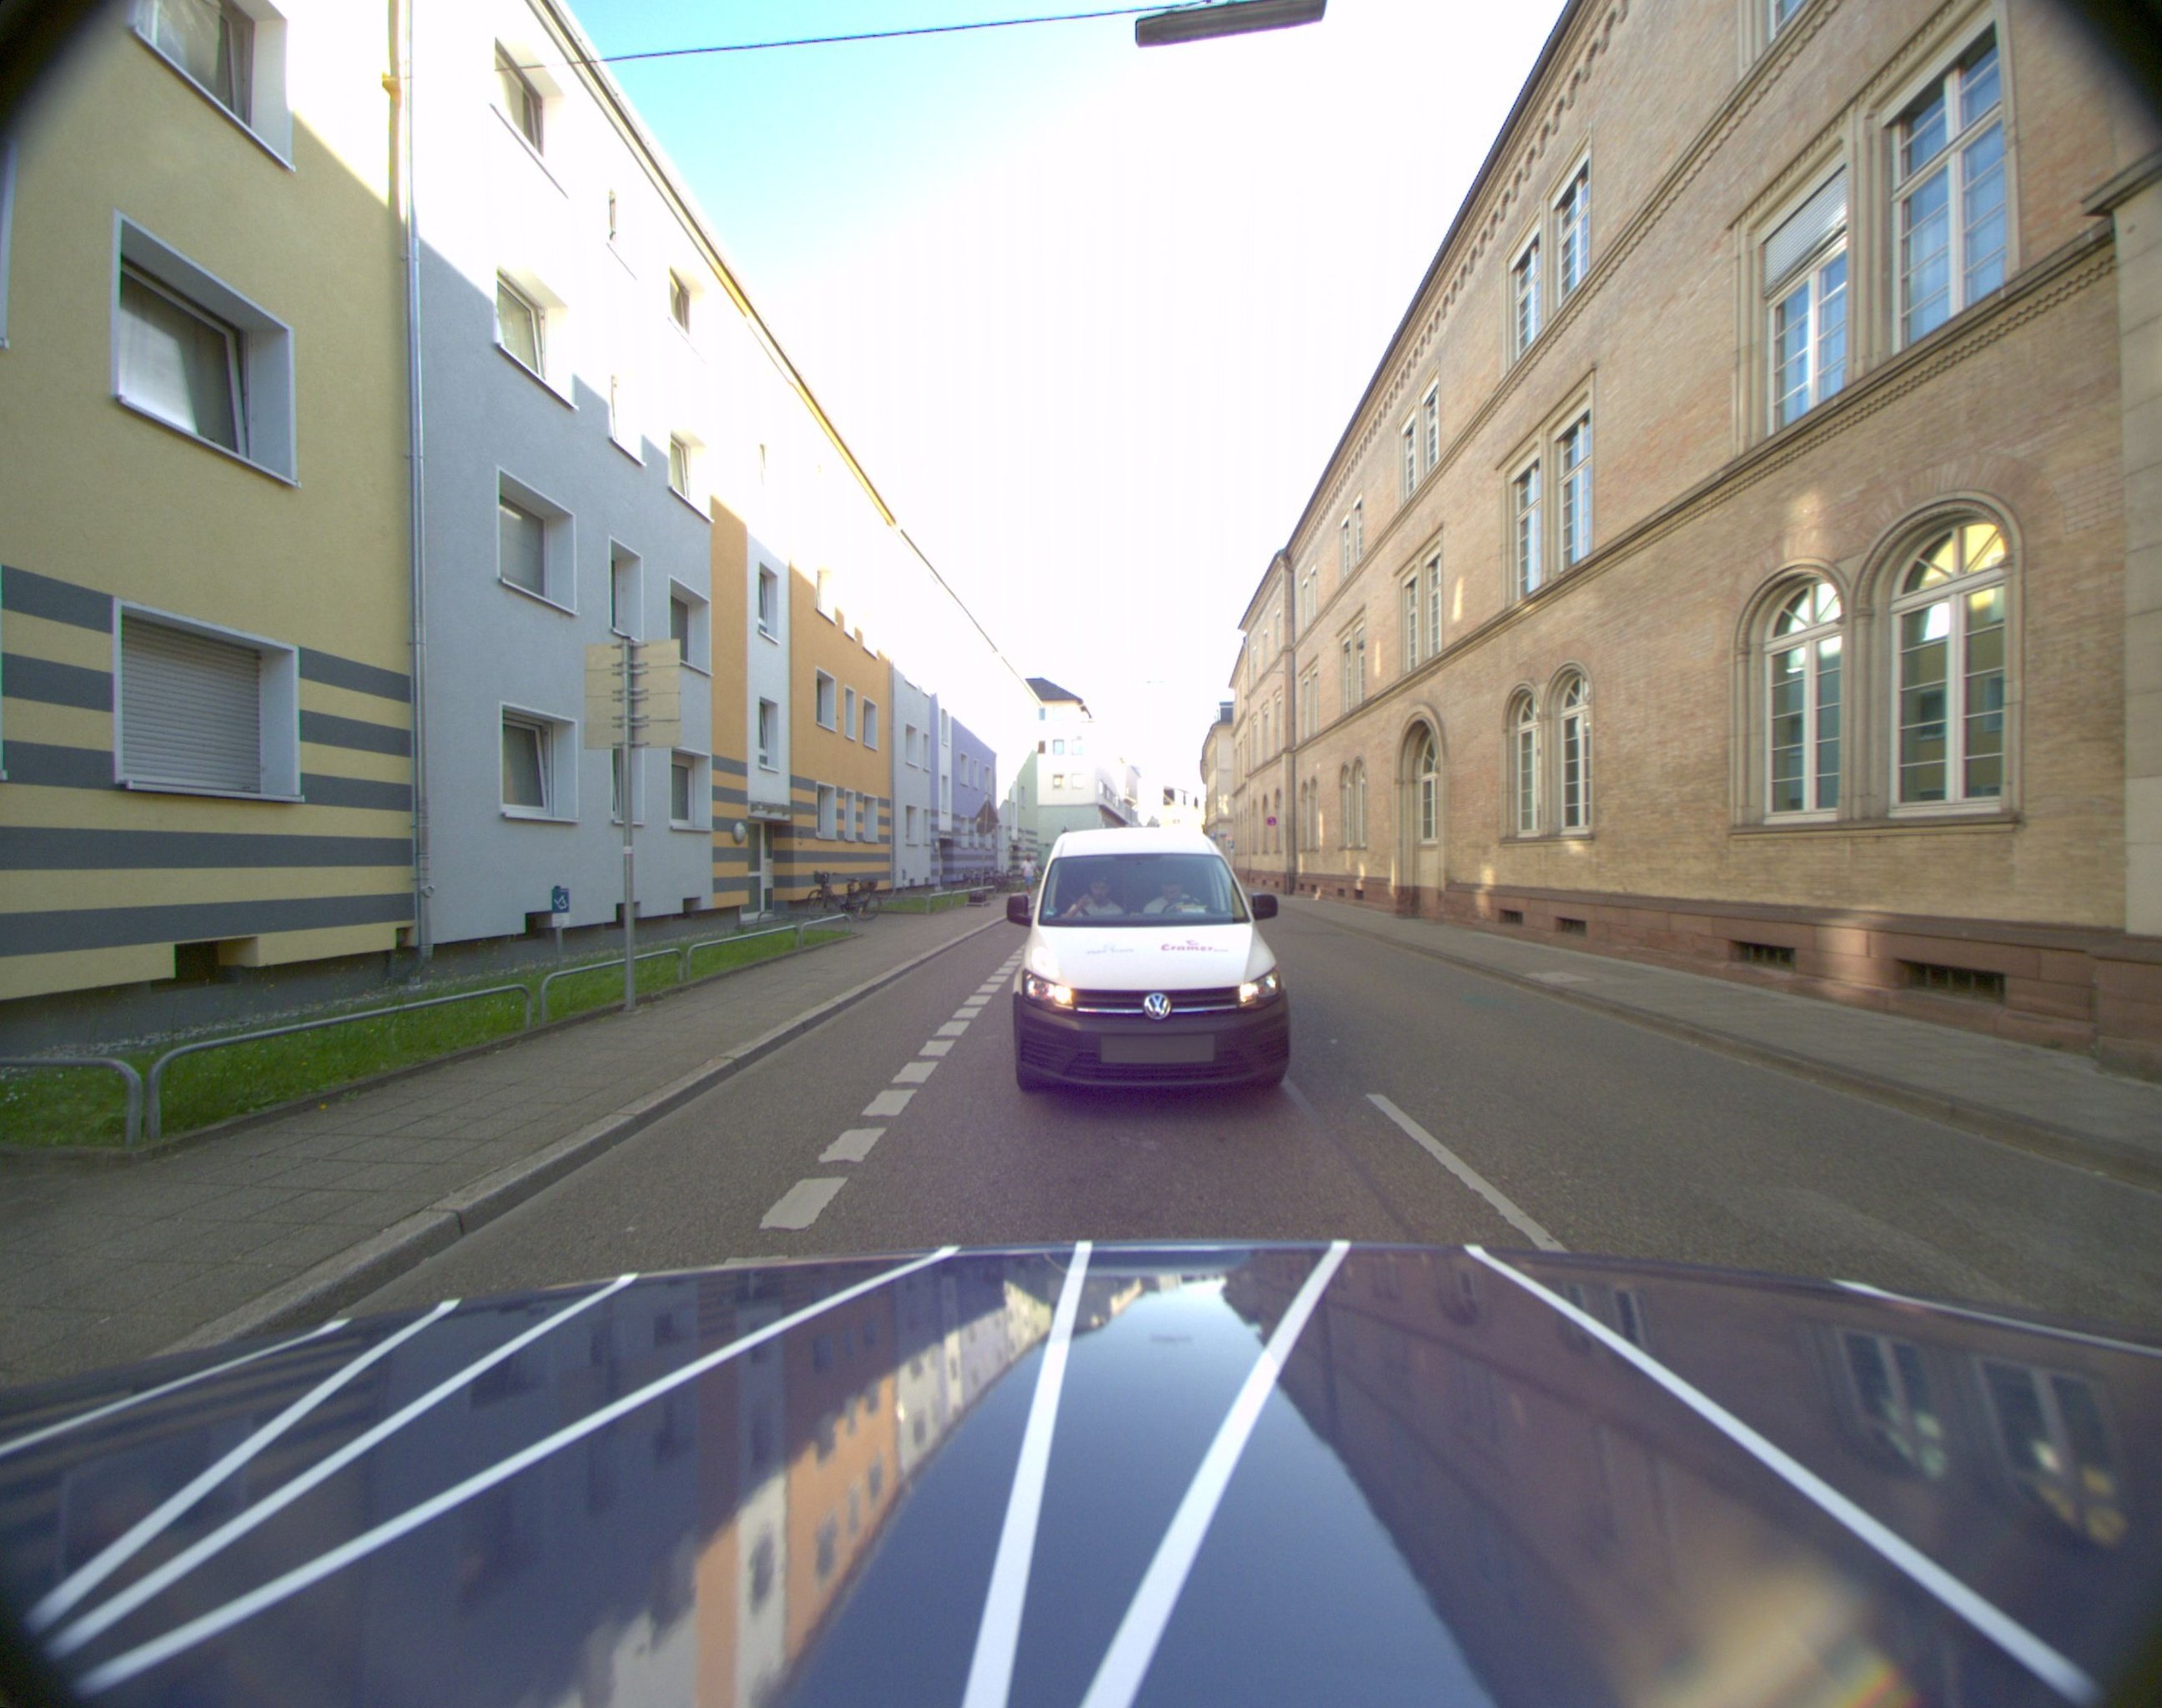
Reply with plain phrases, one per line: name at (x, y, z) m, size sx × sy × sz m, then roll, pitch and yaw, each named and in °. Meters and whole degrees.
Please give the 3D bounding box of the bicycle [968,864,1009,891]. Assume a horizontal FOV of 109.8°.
bicycle at (-4.030, 1.025, 33.125) m, size 1.676 × 1.145 × 0.484 m, roll 0°, pitch 0°, yaw 4°

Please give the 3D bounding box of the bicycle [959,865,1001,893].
bicycle at (-4.235, 1.052, 31.831) m, size 1.676 × 1.145 × 0.484 m, roll 0°, pitch 0°, yaw 4°

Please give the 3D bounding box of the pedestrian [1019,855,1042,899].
pedestrian at (-1.918, 0.863, 28.933) m, size 0.705 × 1.627 × 0.833 m, roll 2°, pitch 2°, yaw 5°

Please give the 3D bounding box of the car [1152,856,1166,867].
car at (12.646, 1.198, 122.691) m, size 1.997 × 1.643 × 4.231 m, roll -2°, pitch 1°, yaw 9°

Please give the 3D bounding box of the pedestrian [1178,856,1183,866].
pedestrian at (16.669, 1.115, 127.583) m, size 0.704 × 1.627 × 0.833 m, roll 3°, pitch 2°, yaw 14°

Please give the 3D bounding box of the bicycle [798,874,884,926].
bicycle at (-5.384, 1.019, 17.095) m, size 1.780 × 1.116 × 0.484 m, roll 0°, pitch 0°, yaw -5°

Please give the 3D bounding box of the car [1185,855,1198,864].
car at (22.107, 1.090, 152.013) m, size 1.996 × 1.643 × 4.233 m, roll -2°, pitch 1°, yaw 17°

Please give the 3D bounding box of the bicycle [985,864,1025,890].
bicycle at (-3.371, 1.008, 33.670) m, size 1.676 × 1.145 × 0.484 m, roll 0°, pitch 0°, yaw 4°

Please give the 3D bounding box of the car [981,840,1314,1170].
car at (0.396, 0.784, 6.741) m, size 1.769 × 1.761 × 5.331 m, roll -1°, pitch 1°, yaw 1°

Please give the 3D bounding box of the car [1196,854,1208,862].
car at (26.090, 0.806, 163.744) m, size 1.996 × 1.643 × 4.233 m, roll -2°, pitch 1°, yaw 17°

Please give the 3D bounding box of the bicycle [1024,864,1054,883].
bicycle at (-2.515, 1.158, 46.042) m, size 1.779 × 1.145 × 0.484 m, roll 0°, pitch 0°, yaw 0°

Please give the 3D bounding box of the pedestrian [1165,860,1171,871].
pedestrian at (12.534, 1.659, 109.155) m, size 0.705 × 1.627 × 0.833 m, roll 3°, pitch 2°, yaw 12°
